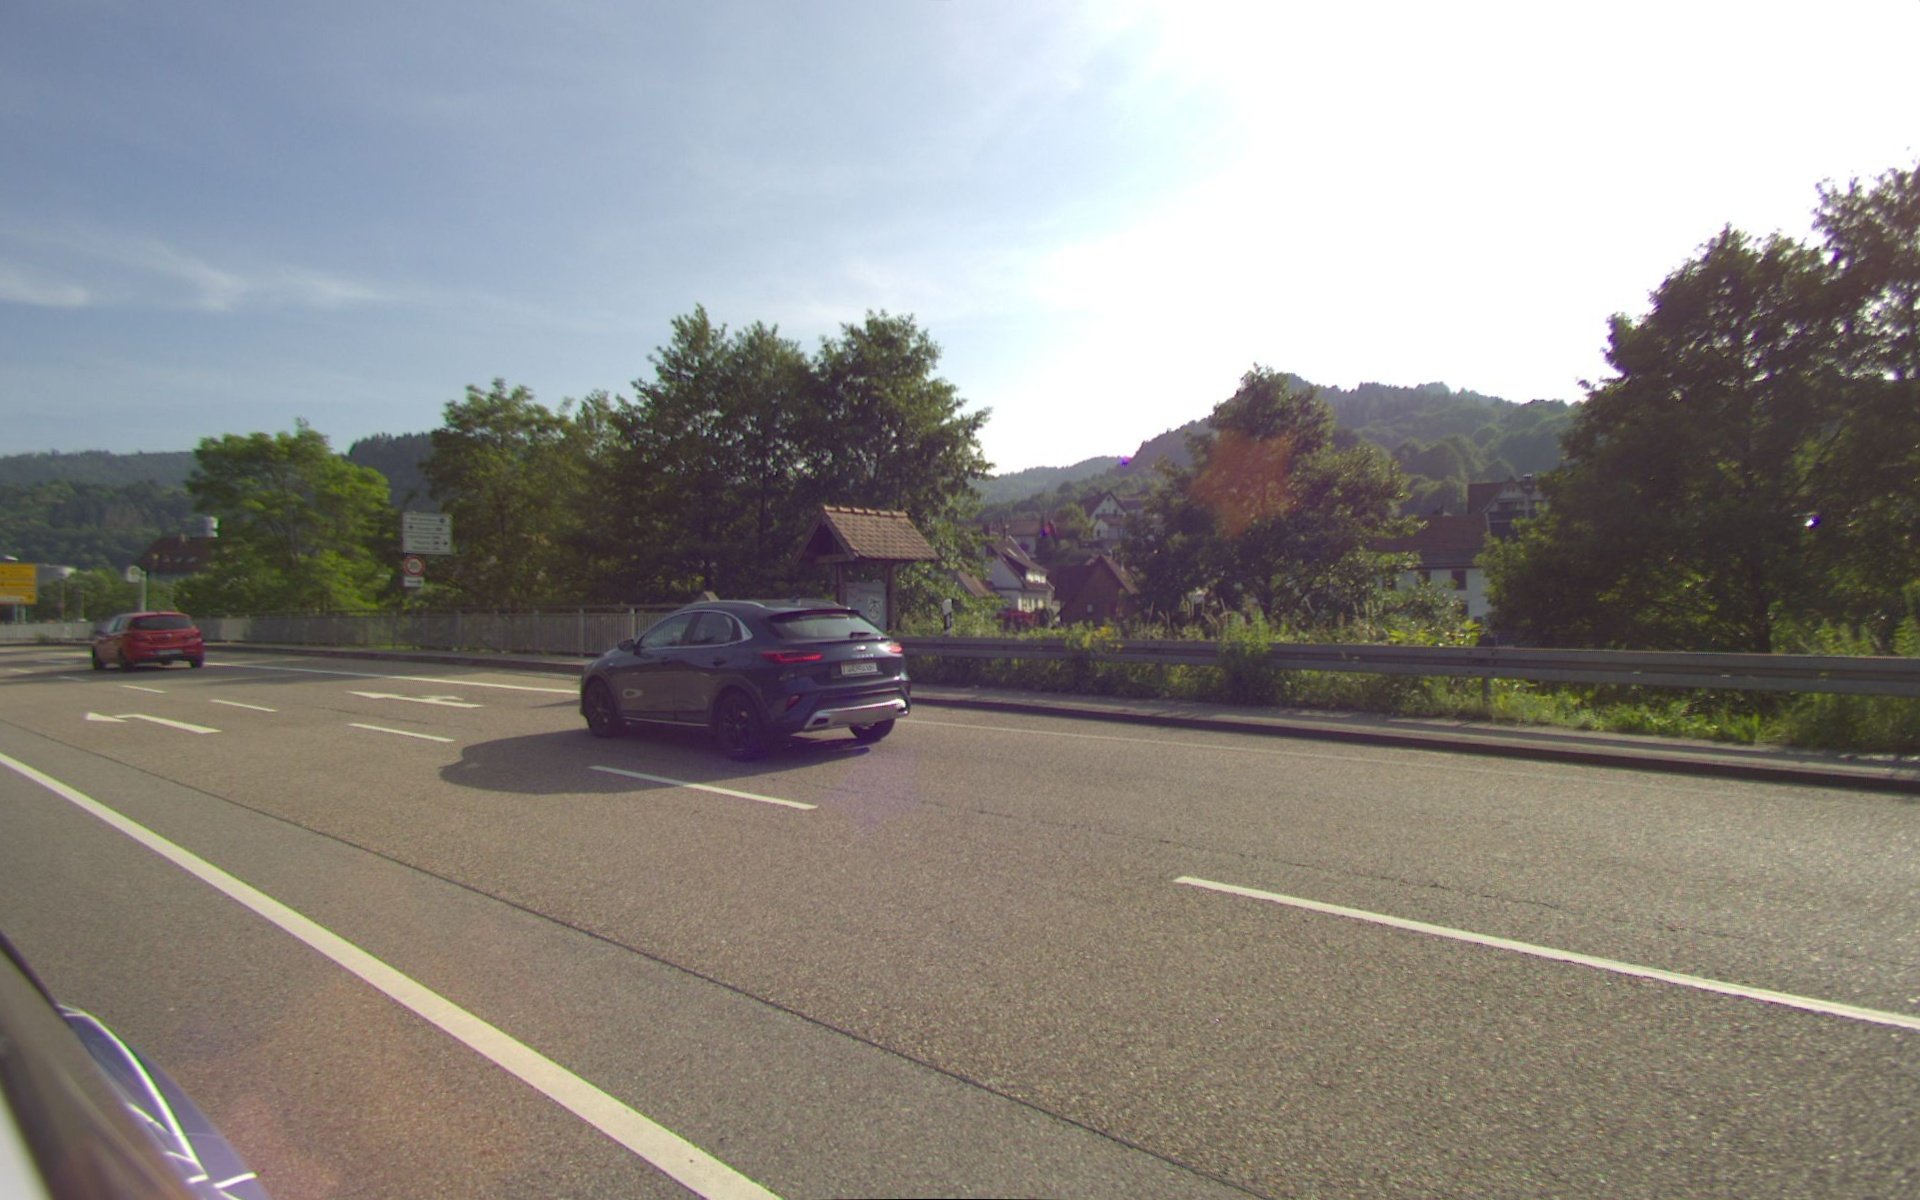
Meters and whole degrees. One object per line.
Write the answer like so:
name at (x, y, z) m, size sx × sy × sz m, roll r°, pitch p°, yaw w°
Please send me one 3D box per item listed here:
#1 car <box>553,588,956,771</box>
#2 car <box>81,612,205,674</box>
car at (-2.327, 0.692, 10.599) m, size 4.542 × 1.480 × 1.831 m, roll -2°, pitch 0°, yaw 43°
car at (-21.503, 1.084, 26.594) m, size 4.196 × 1.471 × 1.659 m, roll -1°, pitch 0°, yaw 39°
